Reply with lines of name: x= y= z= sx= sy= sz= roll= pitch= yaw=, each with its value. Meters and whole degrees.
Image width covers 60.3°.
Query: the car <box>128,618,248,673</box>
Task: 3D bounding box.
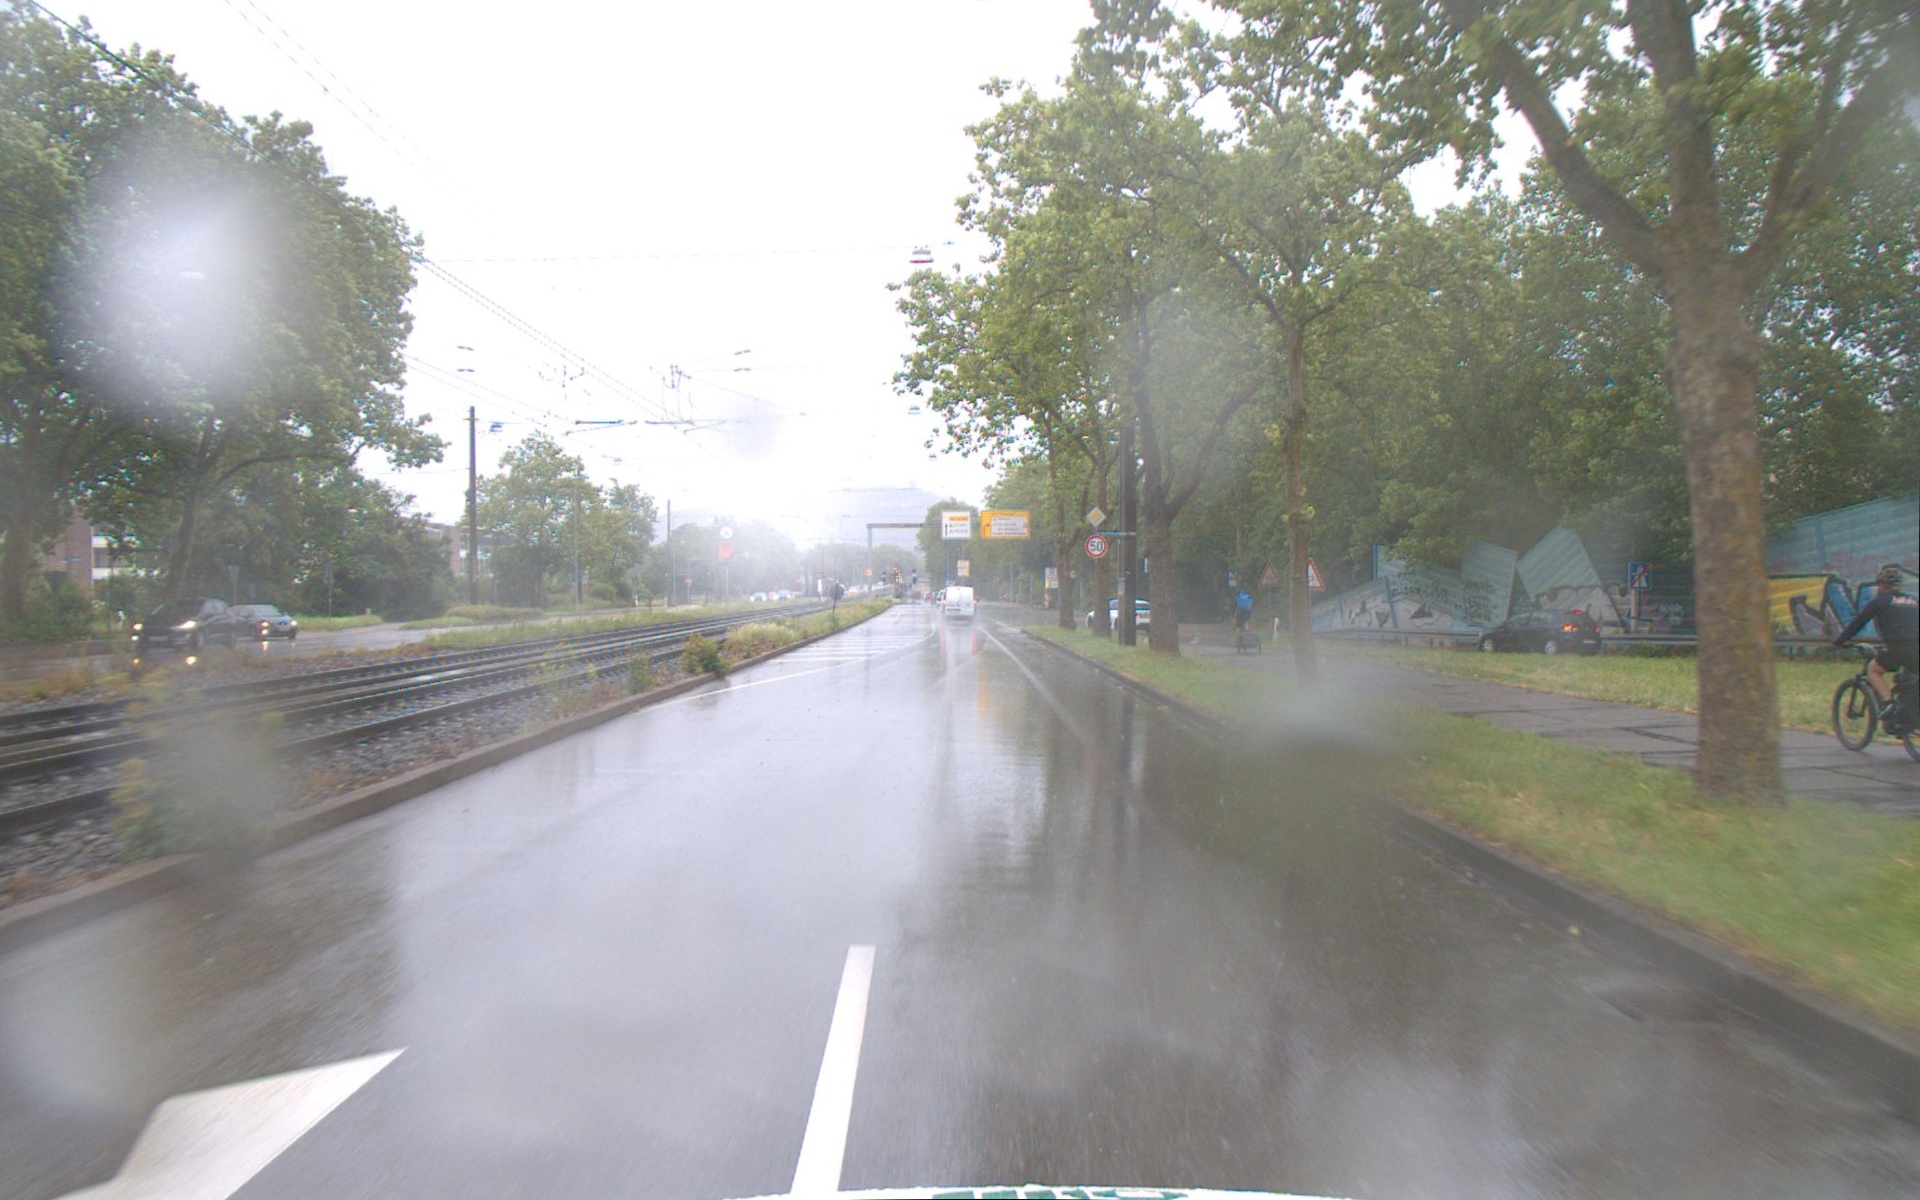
car: x=-21.688 y=1.251 z=46.617 sx=1.648 sy=1.430 sz=3.937 roll=0 pitch=0 yaw=-2

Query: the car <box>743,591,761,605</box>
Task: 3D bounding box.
car: x=-24.969 y=-0.256 z=198.990 sx=1.905 sy=1.716 sz=4.776 roll=0 pitch=0 yaw=-4

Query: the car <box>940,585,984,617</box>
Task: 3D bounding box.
car: x=0.063 y=0.046 z=80.211 sx=2.035 sy=1.445 sz=3.999 roll=-1 pitch=0 yaw=-1

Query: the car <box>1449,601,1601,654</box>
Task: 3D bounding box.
car: x=17.491 y=0.820 z=51.393 sx=1.841 sy=1.563 sz=4.477 roll=0 pitch=0 yaw=-27

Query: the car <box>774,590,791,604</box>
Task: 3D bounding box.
car: x=-21.340 y=-0.324 z=199.031 sx=1.905 sy=1.644 sz=4.984 roll=0 pitch=0 yaw=-5

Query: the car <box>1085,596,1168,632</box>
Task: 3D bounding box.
car: x=7.390 y=0.596 z=73.705 sx=1.920 sy=1.563 sz=4.439 roll=0 pitch=0 yaw=-21
